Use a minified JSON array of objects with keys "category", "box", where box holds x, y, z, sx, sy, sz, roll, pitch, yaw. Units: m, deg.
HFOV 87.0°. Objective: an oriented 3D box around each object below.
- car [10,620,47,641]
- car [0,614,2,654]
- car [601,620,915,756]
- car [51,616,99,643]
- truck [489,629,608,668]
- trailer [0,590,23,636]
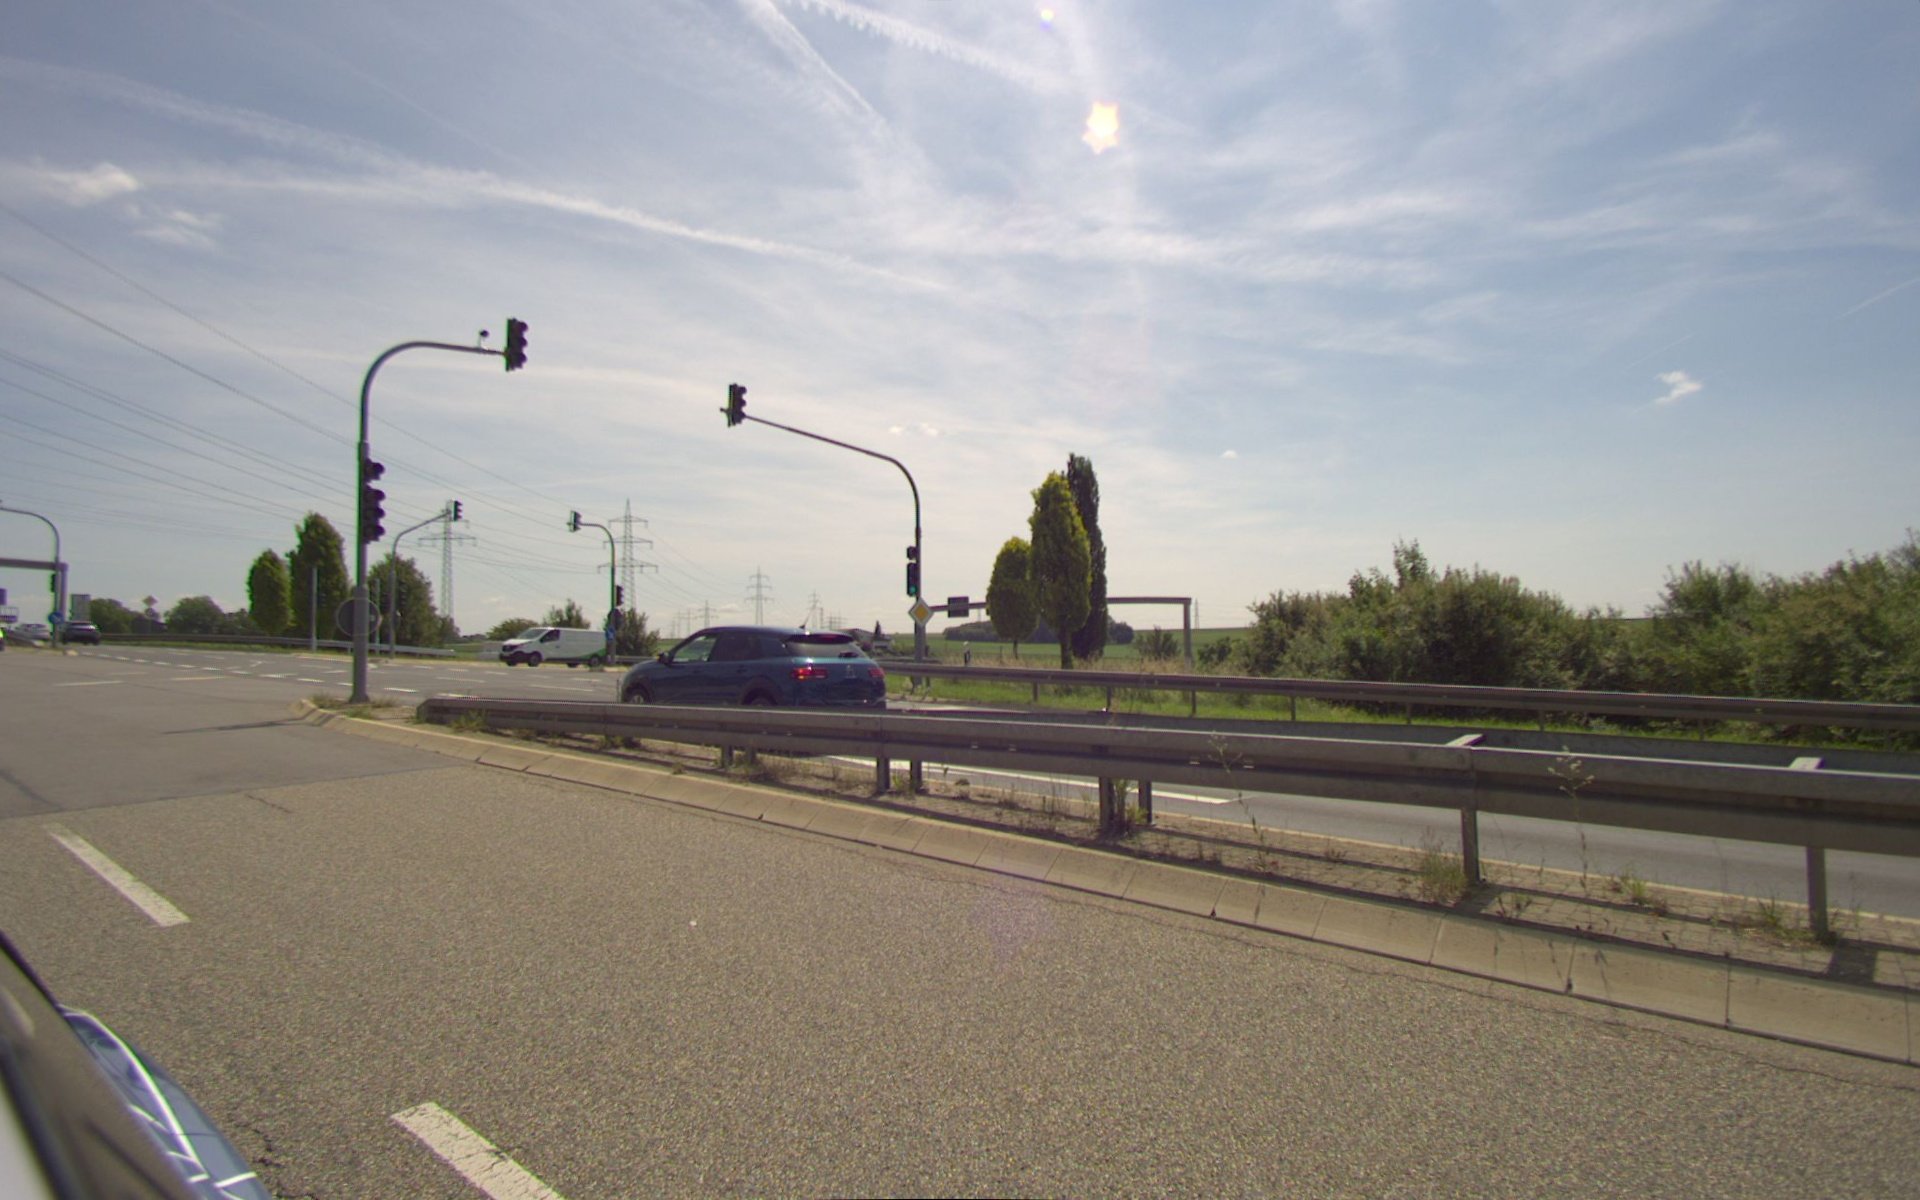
[{"category":"car","box":[-71.765,2.330,77.953,3.799,1.508,1.627,0,-3,41]},{"category":"car","box":[-45.508,1.568,46.415,4.747,1.812,1.750,-1,-1,40]},{"category":"car","box":[-2.709,1.020,13.100,4.192,1.480,1.737,-1,-3,40]},{"category":"car","box":[-59.506,1.980,68.030,4.324,1.636,1.628,0,-4,40]},{"category":"truck","box":[-20.063,2.418,49.581,1.993,1.770,5.227,0,-4,30]},{"category":"trailer","box":[-87.922,1.107,90.435,19.765,3.792,2.615,0,-2,37]}]
